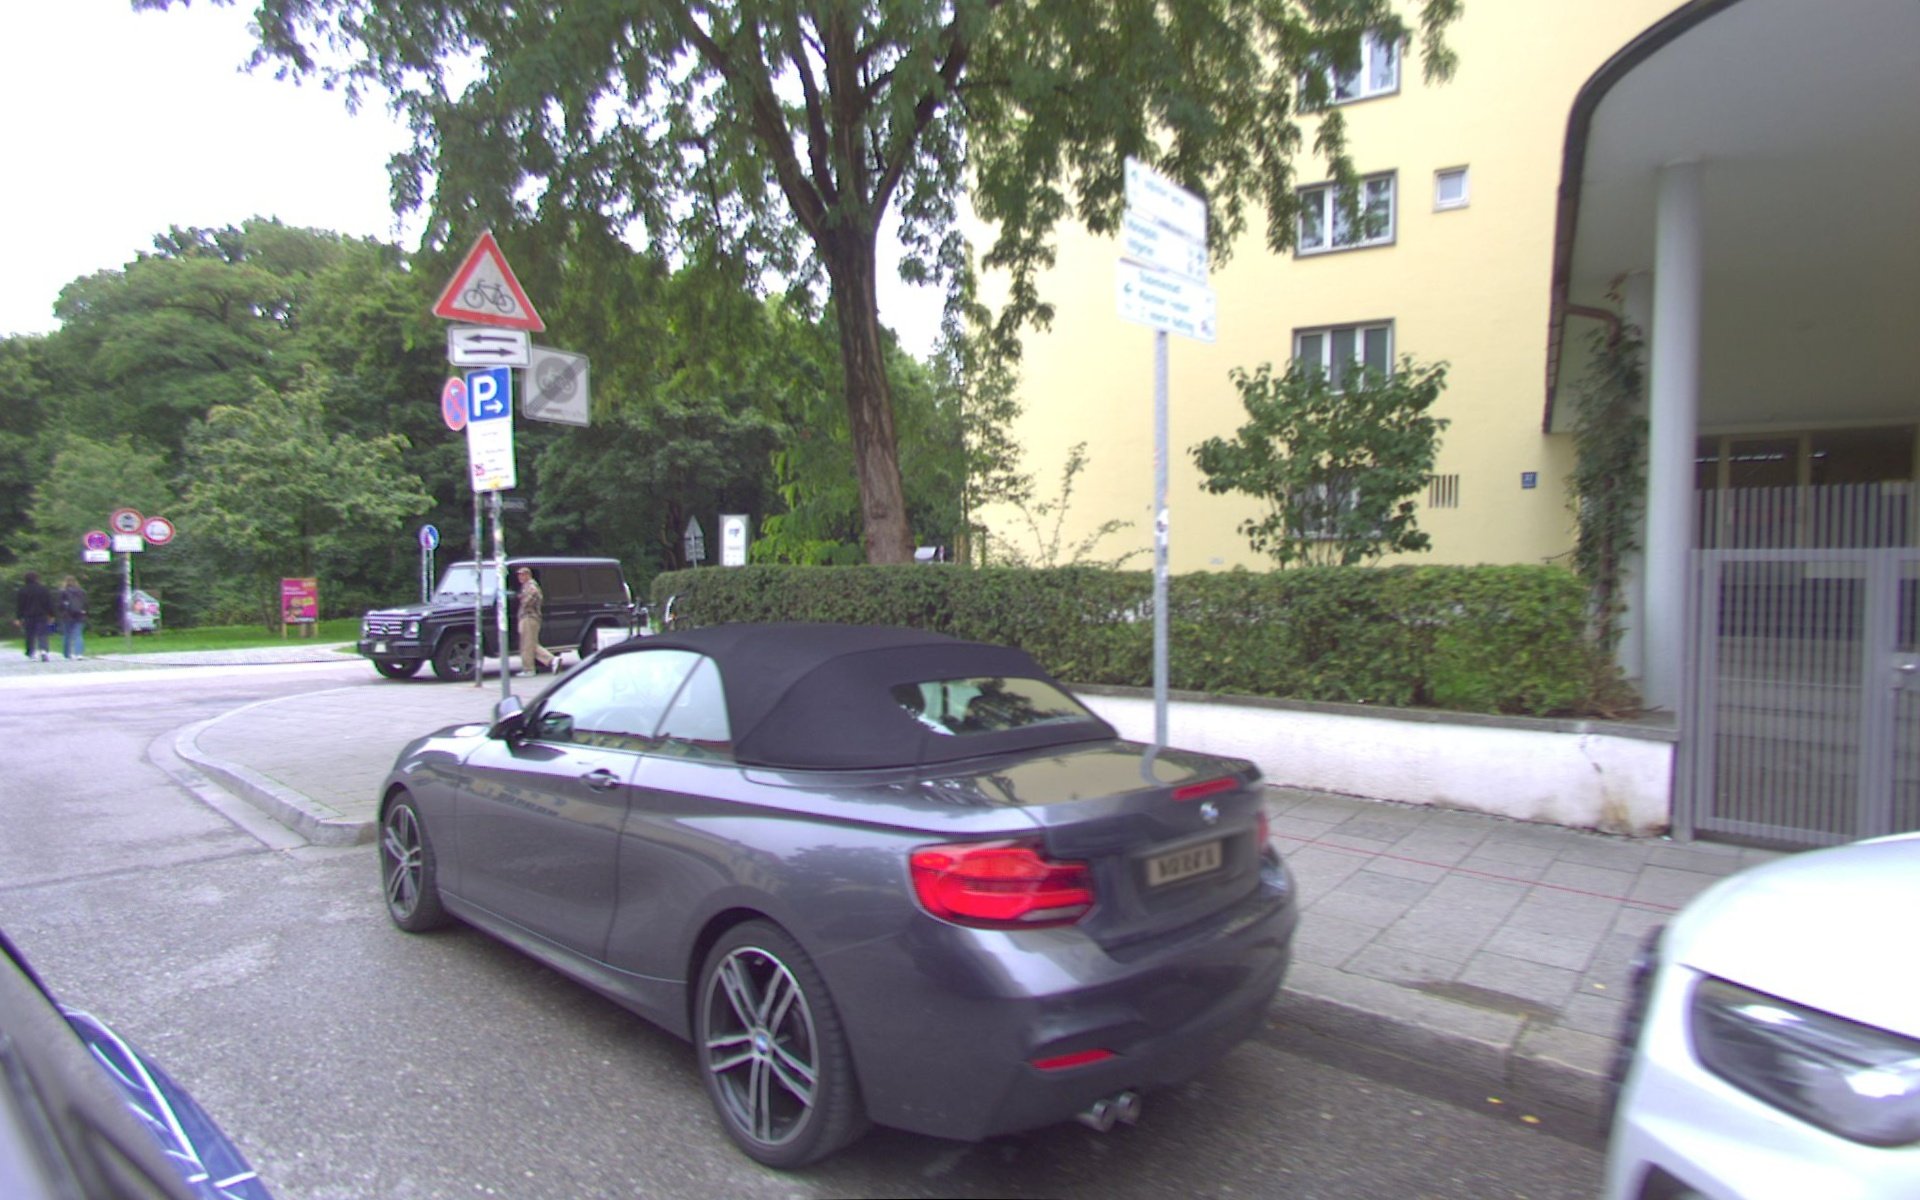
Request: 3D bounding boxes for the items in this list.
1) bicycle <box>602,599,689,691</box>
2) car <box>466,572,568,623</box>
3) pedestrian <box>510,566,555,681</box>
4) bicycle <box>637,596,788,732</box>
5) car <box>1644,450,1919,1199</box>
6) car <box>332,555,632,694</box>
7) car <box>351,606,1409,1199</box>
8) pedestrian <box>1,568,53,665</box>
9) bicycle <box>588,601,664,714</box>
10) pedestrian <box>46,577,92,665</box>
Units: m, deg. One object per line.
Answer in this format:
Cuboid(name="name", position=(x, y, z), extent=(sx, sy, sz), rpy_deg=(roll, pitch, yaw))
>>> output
Cuboid(name="bicycle", position=(-4.369, 0.592, 14.198), extent=(0.575, 1.165, 1.952), rpy_deg=(-2, 0, 0))
Cuboid(name="car", position=(-19.296, -0.147, 44.260), extent=(3.900, 2.120, 1.911), rpy_deg=(-1, 2, -18))
Cuboid(name="pedestrian", position=(-6.961, 0.374, 16.467), extent=(0.551, 1.812, 0.642), rpy_deg=(-1, -1, -31))
Cuboid(name="bicycle", position=(-2.515, 0.585, 10.133), extent=(1.855, 1.219, 0.555), rpy_deg=(1, 2, 44))
Cuboid(name="car", position=(3.068, 0.607, 0.484), extent=(4.336, 1.596, 1.783), rpy_deg=(-1, -1, 42))
Cuboid(name="car", position=(-7.891, 0.298, 17.183), extent=(1.926, 2.016, 4.381), rpy_deg=(2, 2, 27))
Cuboid(name="car", position=(-0.681, 0.738, 3.902), extent=(4.096, 1.421, 1.727), rpy_deg=(0, -1, 42))
Cuboid(name="pedestrian", position=(-18.943, 0.335, 20.550), extent=(0.803, 1.918, 0.698), rpy_deg=(-2, -2, 42))
Cuboid(name="bicycle", position=(-3.974, 0.616, 11.942), extent=(0.573, 1.134, 2.305), rpy_deg=(-2, 2, -24))
Cuboid(name="pedestrian", position=(-18.604, 0.438, 21.138), extent=(0.801, 1.795, 0.626), rpy_deg=(-2, -2, 42))
